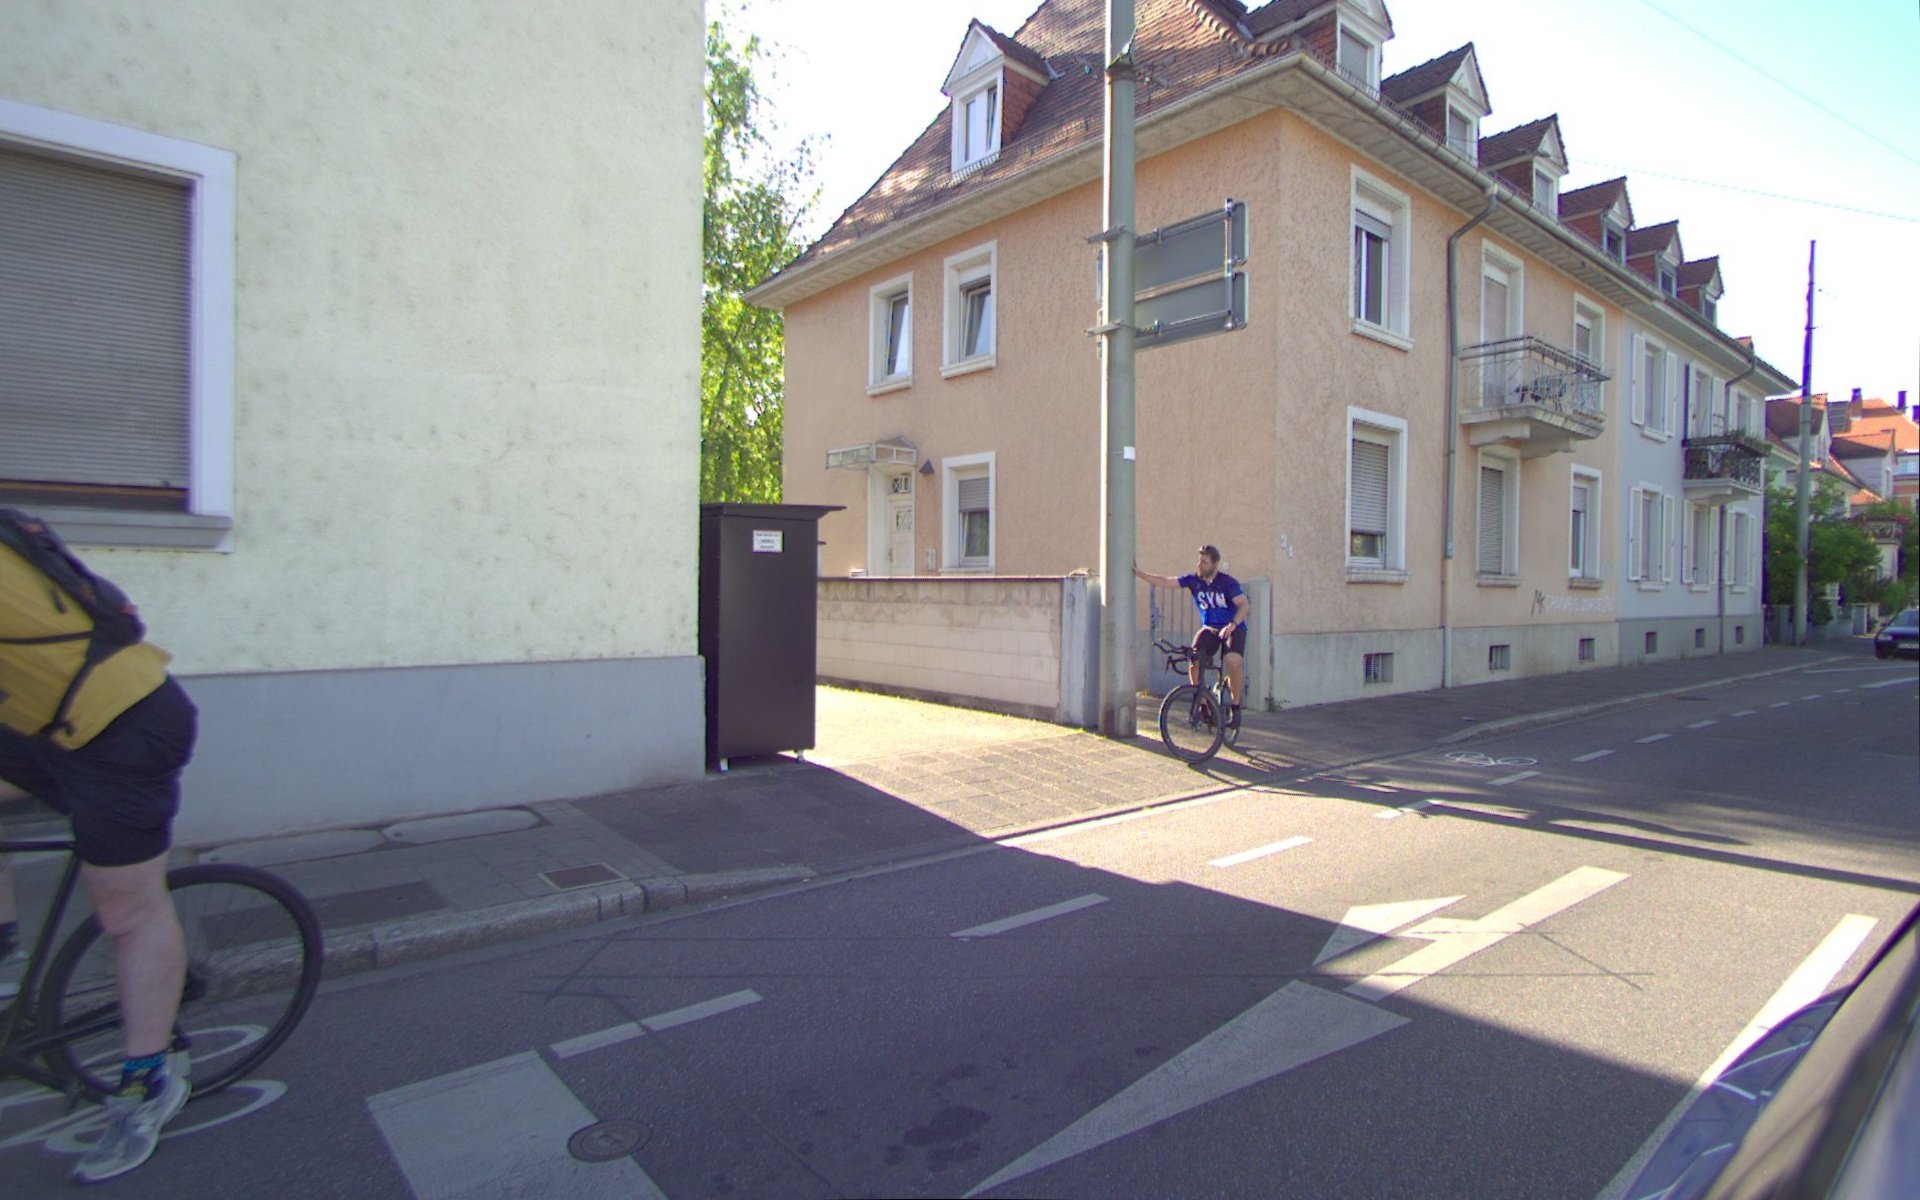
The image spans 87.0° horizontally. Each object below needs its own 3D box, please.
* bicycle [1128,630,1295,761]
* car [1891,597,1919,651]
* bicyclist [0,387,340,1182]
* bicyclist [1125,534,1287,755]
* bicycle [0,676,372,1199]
[{"bbox_3d":[2.312,0.818,9.207,1.669,1.003,0.572,0,4,-41],"label":"bicycle"},{"bbox_3d":[26.693,0.629,27.342,3.796,1.382,1.648,0,1,-38],"label":"car"},{"bbox_3d":[-2.305,0.422,2.697,1.018,1.840,0.653,0,1,-41],"label":"bicyclist"},{"bbox_3d":[2.279,0.361,9.432,0.831,1.887,1.076,0,4,-40],"label":"bicyclist"},{"bbox_3d":[-2.481,0.845,2.532,1.669,1.180,0.572,0,1,-41],"label":"bicycle"}]
